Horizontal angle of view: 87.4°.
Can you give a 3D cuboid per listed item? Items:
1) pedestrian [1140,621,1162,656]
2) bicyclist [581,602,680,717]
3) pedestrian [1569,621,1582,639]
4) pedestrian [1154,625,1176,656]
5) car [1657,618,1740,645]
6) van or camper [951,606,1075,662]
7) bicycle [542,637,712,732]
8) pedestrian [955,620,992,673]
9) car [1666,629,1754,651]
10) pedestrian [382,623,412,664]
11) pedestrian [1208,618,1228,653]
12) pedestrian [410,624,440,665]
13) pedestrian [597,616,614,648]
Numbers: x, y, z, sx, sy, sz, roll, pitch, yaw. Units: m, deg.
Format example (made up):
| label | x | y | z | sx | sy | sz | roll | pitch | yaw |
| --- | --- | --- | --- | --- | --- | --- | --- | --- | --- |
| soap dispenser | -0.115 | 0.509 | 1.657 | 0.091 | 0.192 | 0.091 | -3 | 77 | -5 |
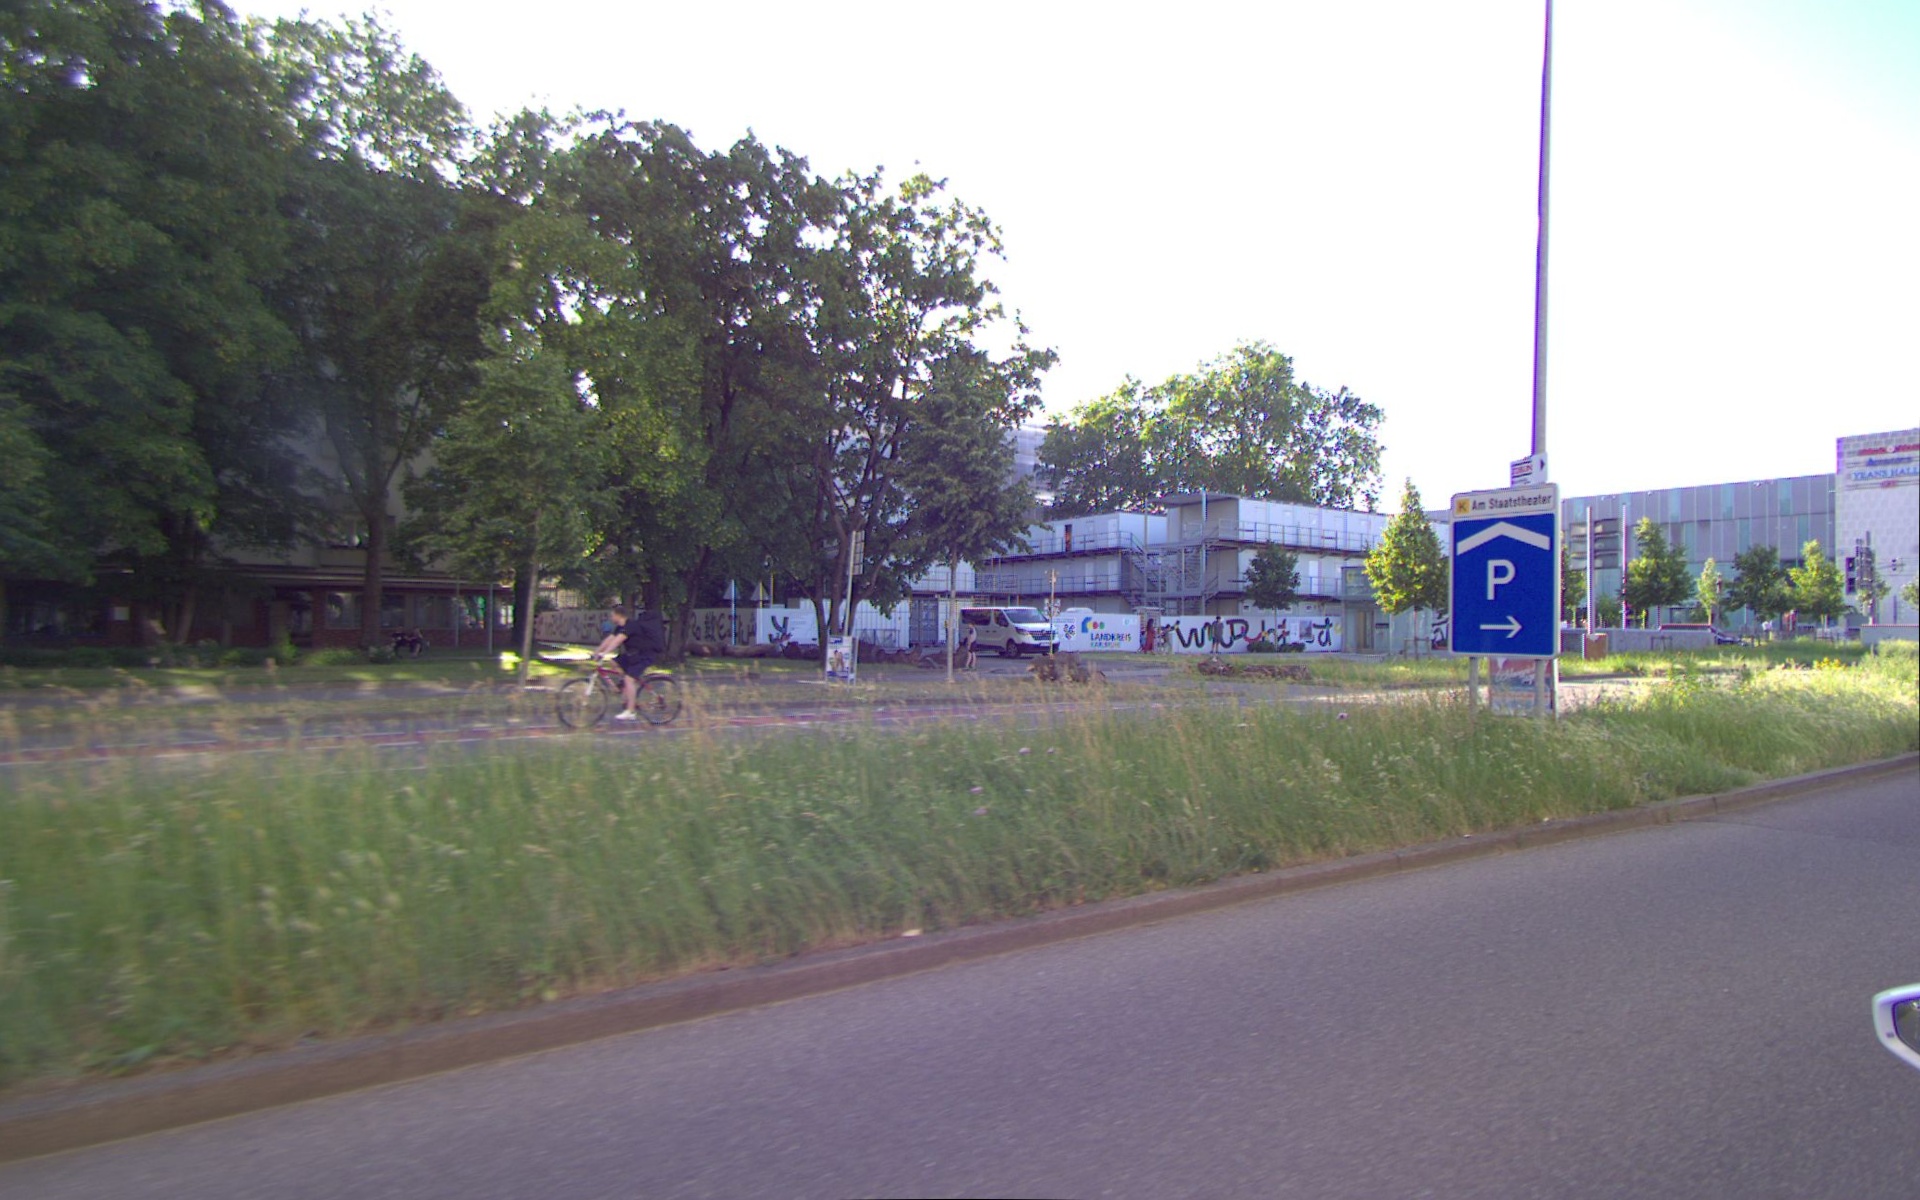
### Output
| label | x | y | z | sx | sy | sz | roll | pitch | yaw |
| --- | --- | --- | --- | --- | --- | --- | --- | --- | --- |
| pedestrian | 8.634 | 1.729 | 45.404 | 0.827 | 1.579 | 0.576 | 1 | -1 | -33 |
| bicyclist | -4.825 | 0.874 | 14.717 | 1.189 | 1.611 | 0.743 | 3 | -3 | -32 |
| pedestrian | 54.213 | 2.630 | 88.476 | 0.718 | 1.522 | 0.794 | 1 | -1 | -39 |
| pedestrian | 9.188 | 1.805 | 44.972 | 0.827 | 1.396 | 0.576 | 1 | -1 | -33 |
| car | 53.619 | 2.286 | 73.007 | 1.856 | 1.834 | 4.604 | 4 | -3 | -38 |
| van or camper | 1.981 | 1.363 | 39.918 | 2.231 | 2.040 | 5.638 | 3 | -3 | -29 |
| bicycle | -4.842 | 1.217 | 14.684 | 2.234 | 1.292 | 0.754 | 3 | -3 | -33 |
| pedestrian | 0.402 | 1.355 | 29.664 | 0.930 | 1.548 | 0.610 | 0 | -1 | -26 |
| car | 51.629 | 2.734 | 69.219 | 1.856 | 1.392 | 4.604 | 4 | -4 | -38 |
| pedestrian | -21.564 | 1.655 | 38.471 | 0.887 | 1.560 | 0.895 | 1 | -1 | -38 |
| pedestrian | 12.596 | 1.720 | 49.019 | 0.827 | 1.711 | 0.576 | 1 | -1 | -33 |
| pedestrian | -20.787 | 1.706 | 39.039 | 0.887 | 1.560 | 0.895 | 1 | -1 | -38 |
| pedestrian | -18.353 | 1.645 | 51.970 | 0.735 | 1.662 | 0.721 | 1 | -1 | -26 |
